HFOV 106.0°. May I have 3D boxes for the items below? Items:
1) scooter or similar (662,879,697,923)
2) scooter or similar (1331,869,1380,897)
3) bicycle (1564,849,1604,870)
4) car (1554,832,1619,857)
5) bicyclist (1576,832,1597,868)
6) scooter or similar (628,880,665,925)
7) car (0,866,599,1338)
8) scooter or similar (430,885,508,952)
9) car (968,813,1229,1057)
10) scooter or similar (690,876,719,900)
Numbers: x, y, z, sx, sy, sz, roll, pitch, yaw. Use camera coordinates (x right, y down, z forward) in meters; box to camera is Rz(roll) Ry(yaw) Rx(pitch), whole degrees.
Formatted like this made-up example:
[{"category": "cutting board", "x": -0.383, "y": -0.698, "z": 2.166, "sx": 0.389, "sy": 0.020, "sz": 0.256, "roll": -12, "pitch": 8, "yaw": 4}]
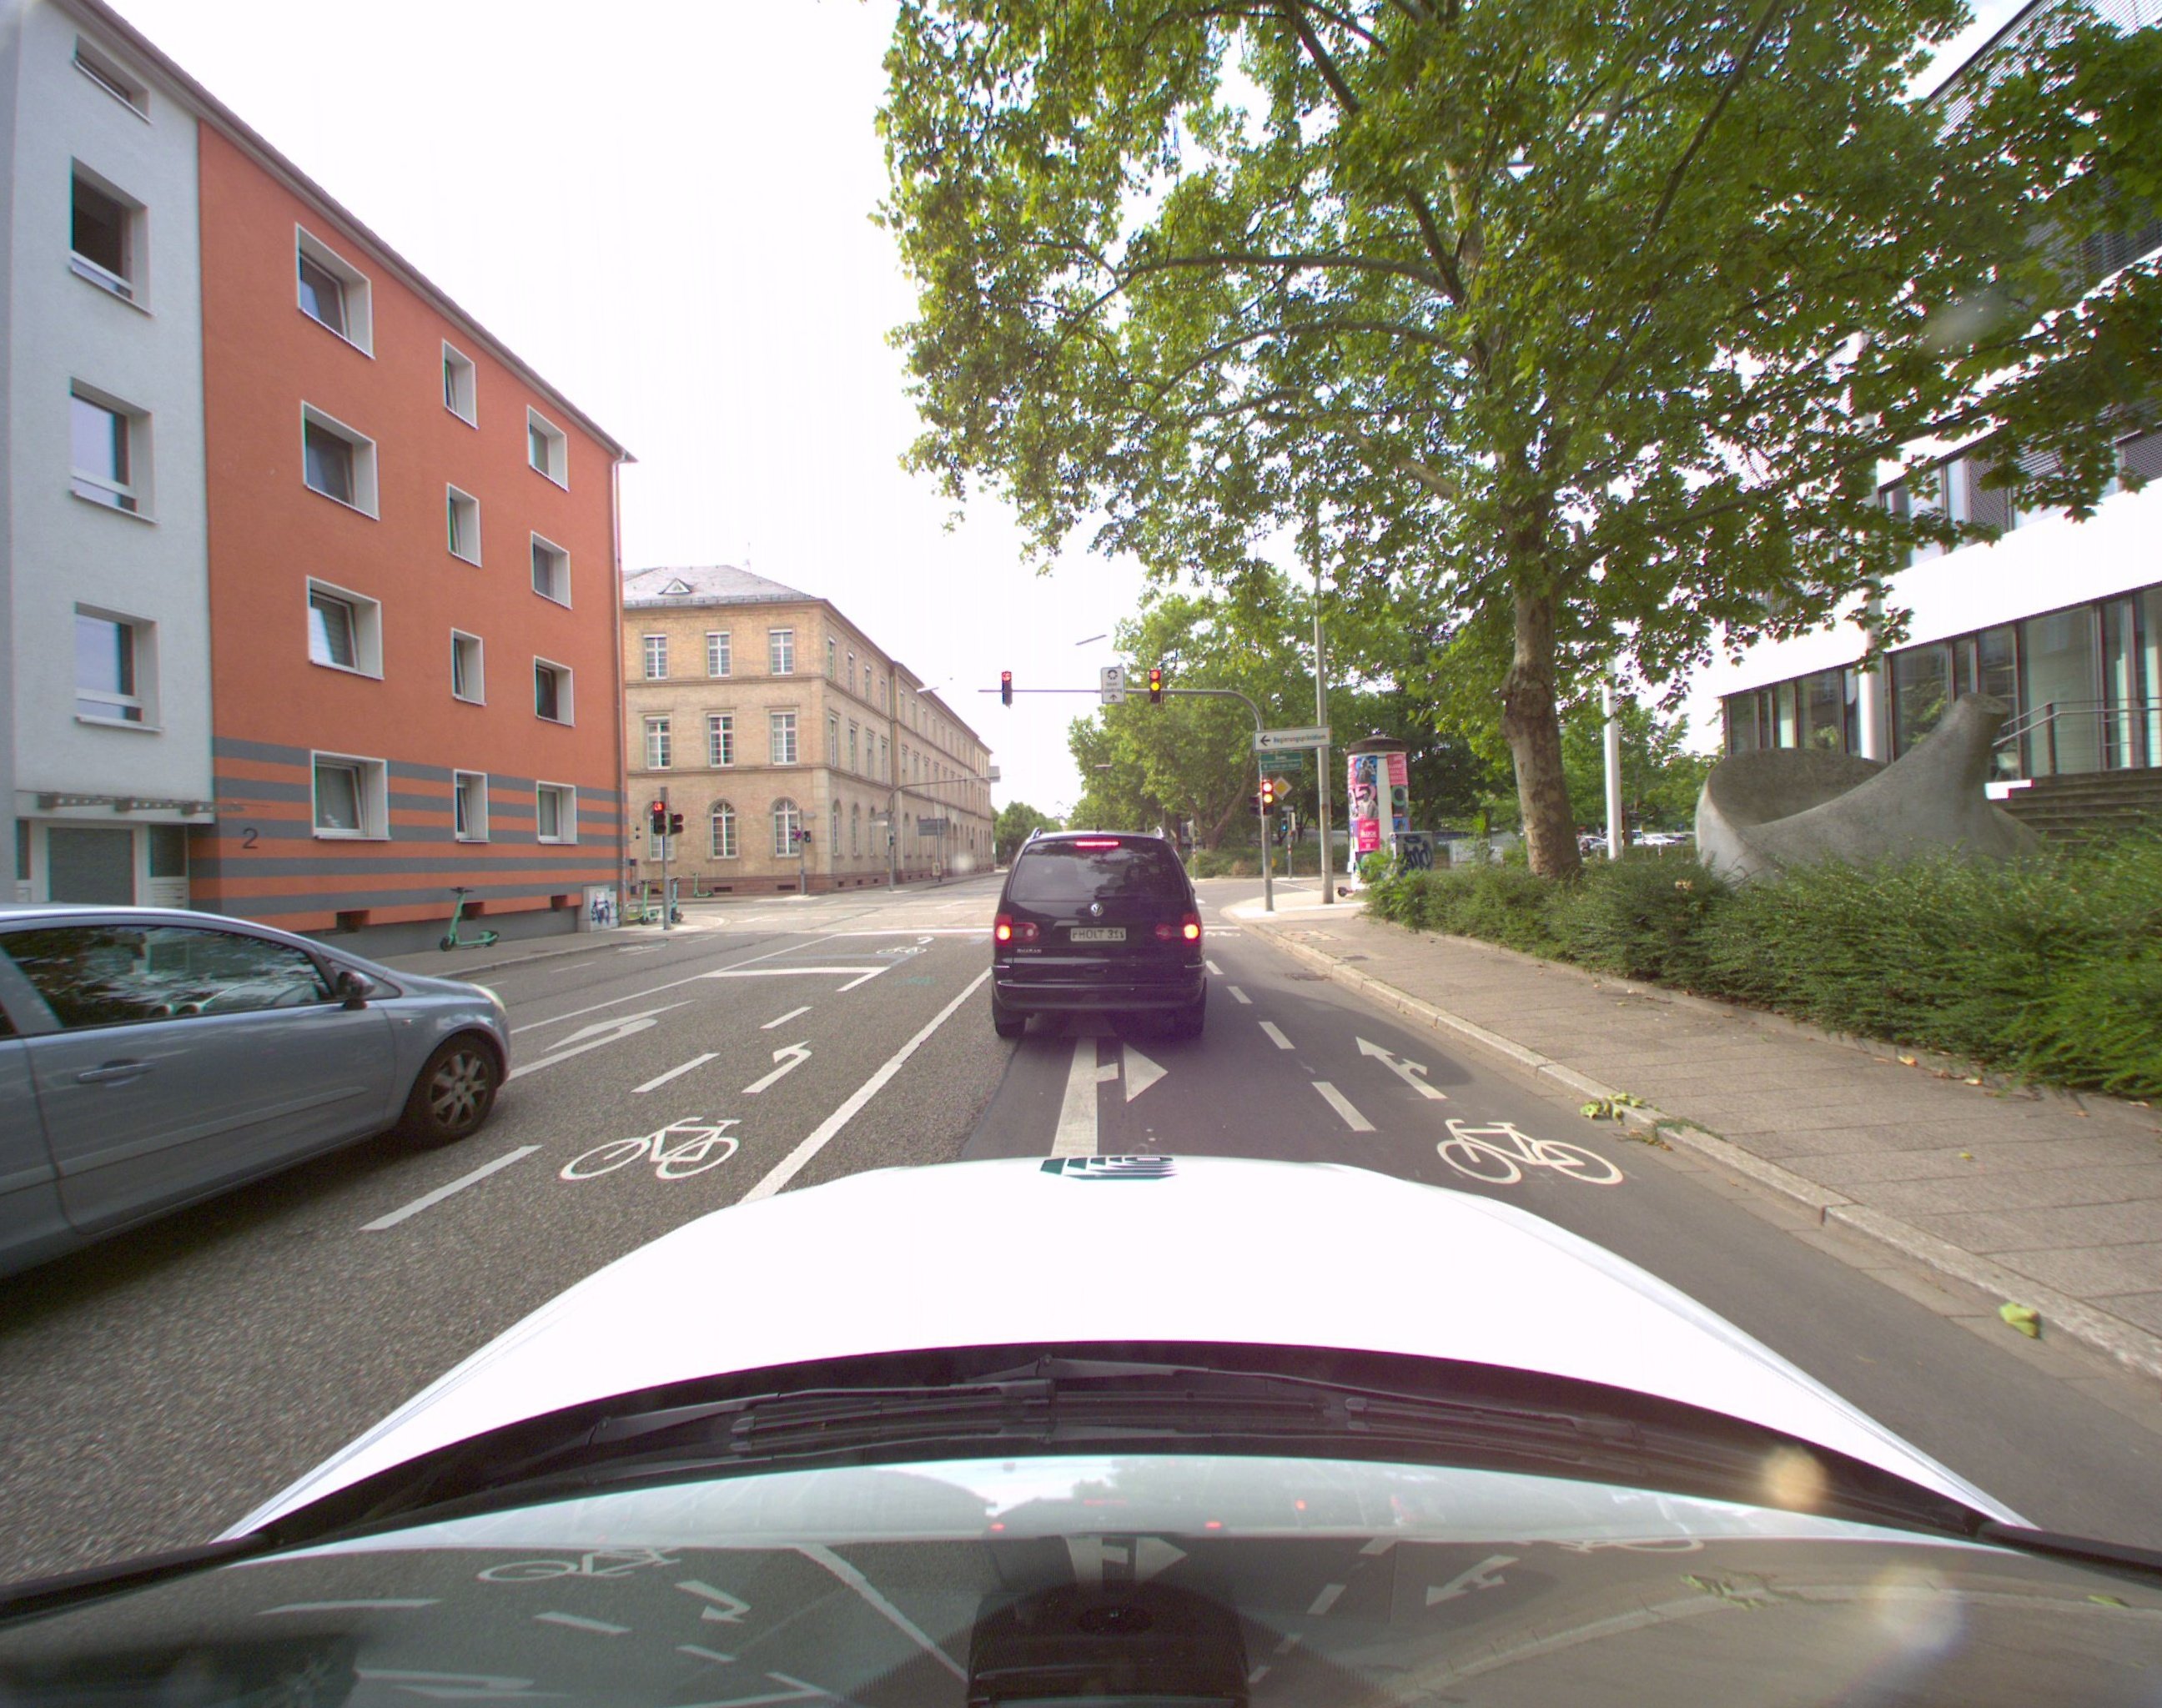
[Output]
[{"category": "scooter or similar", "x": -10.965, "y": 1.269, "z": 22.258, "sx": 0.377, "sy": 1.144, "sz": 1.141, "roll": -2, "pitch": -2, "yaw": -1}, {"category": "scooter or similar", "x": 7.611, "y": 0.796, "z": 22.573, "sx": 1.214, "sy": 0.736, "sz": 0.369, "roll": -2, "pitch": 0, "yaw": 1}, {"category": "bicycle", "x": 23.057, "y": 0.257, "z": 37.339, "sx": 1.465, "sy": 0.885, "sz": 0.555, "roll": -2, "pitch": 0, "yaw": 1}, {"category": "car", "x": 35.507, "y": -0.663, "z": 57.355, "sx": 1.955, "sy": 1.651, "sz": 4.152, "roll": -2, "pitch": 0, "yaw": 0}, {"category": "bicyclist", "x": 23.161, "y": -0.202, "z": 37.333, "sx": 0.566, "sy": 1.618, "sz": 0.536, "roll": -2, "pitch": 0, "yaw": 1}, {"category": "scooter or similar", "x": -11.572, "y": 1.289, "z": 21.727, "sx": 0.377, "sy": 1.147, "sz": 1.141, "roll": -2, "pitch": -2, "yaw": -1}, {"category": "car", "x": -4.239, "y": 0.846, "z": 3.476, "sx": 1.706, "sy": 1.420, "sz": 4.253, "roll": -4, "pitch": 0, "yaw": 1}, {"category": "scooter or similar", "x": -11.622, "y": 1.203, "z": 15.508, "sx": 0.376, "sy": 1.184, "sz": 1.390, "roll": -2, "pitch": -2, "yaw": 2}, {"category": "car", "x": 0.254, "y": 0.591, "z": 8.276, "sx": 1.866, "sy": 1.745, "sz": 4.577, "roll": -2, "pitch": 0, "yaw": 3}, {"category": "scooter or similar", "x": -17.194, "y": 1.550, "z": 37.234, "sx": 1.134, "sy": 1.049, "sz": 0.379, "roll": -2, "pitch": -2, "yaw": 1}]
